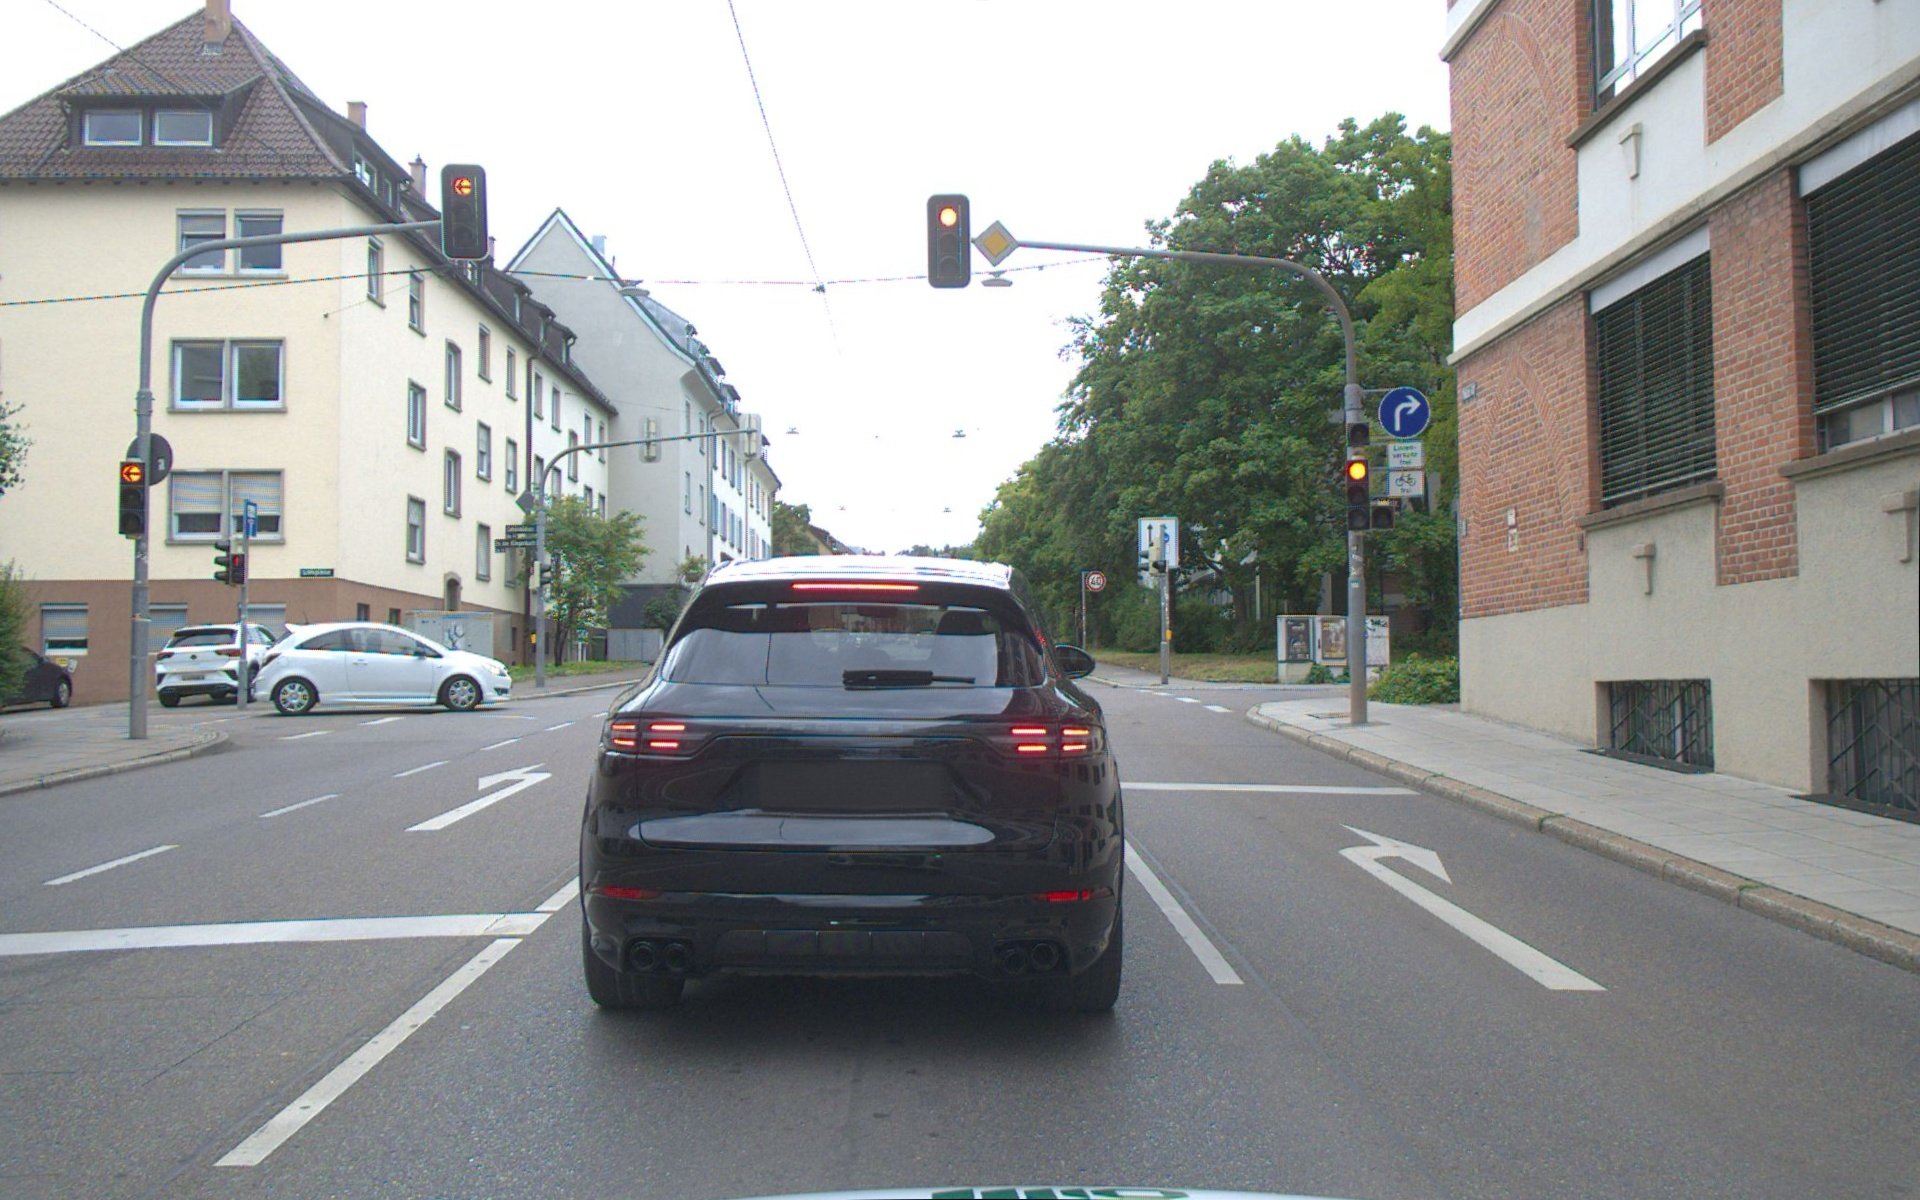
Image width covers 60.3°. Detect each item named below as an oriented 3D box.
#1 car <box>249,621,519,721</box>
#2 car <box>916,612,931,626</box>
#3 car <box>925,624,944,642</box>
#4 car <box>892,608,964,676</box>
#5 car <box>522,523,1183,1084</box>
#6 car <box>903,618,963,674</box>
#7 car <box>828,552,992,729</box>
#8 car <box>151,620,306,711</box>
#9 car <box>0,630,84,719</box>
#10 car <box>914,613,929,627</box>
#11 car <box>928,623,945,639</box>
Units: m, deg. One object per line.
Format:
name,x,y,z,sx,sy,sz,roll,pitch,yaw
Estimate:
car,-9.268,1.106,26.809,3.994,1.417,1.687,-1,0,-19
car,-4.643,2.394,210.159,1.790,1.633,4.134,1,0,-1
car,-2.523,3.260,163.216,1.790,1.633,4.134,1,0,-1
car,-0.832,1.071,43.788,1.790,1.633,4.134,1,0,-1
car,-0.346,0.622,7.231,2.007,1.695,4.266,1,0,-1
car,-0.838,1.425,52.501,1.790,1.633,3.858,1,0,-1
car,-0.612,0.475,21.876,1.925,2.078,4.134,1,0,-1
car,-14.717,1.273,33.482,1.658,1.582,3.762,-3,0,-5
car,-19.622,1.519,33.753,1.658,1.636,3.762,-3,0,-5
car,-4.715,2.445,202.831,1.790,1.633,4.134,1,0,-1
car,-2.596,3.424,182.388,1.790,1.633,4.134,1,0,-1
